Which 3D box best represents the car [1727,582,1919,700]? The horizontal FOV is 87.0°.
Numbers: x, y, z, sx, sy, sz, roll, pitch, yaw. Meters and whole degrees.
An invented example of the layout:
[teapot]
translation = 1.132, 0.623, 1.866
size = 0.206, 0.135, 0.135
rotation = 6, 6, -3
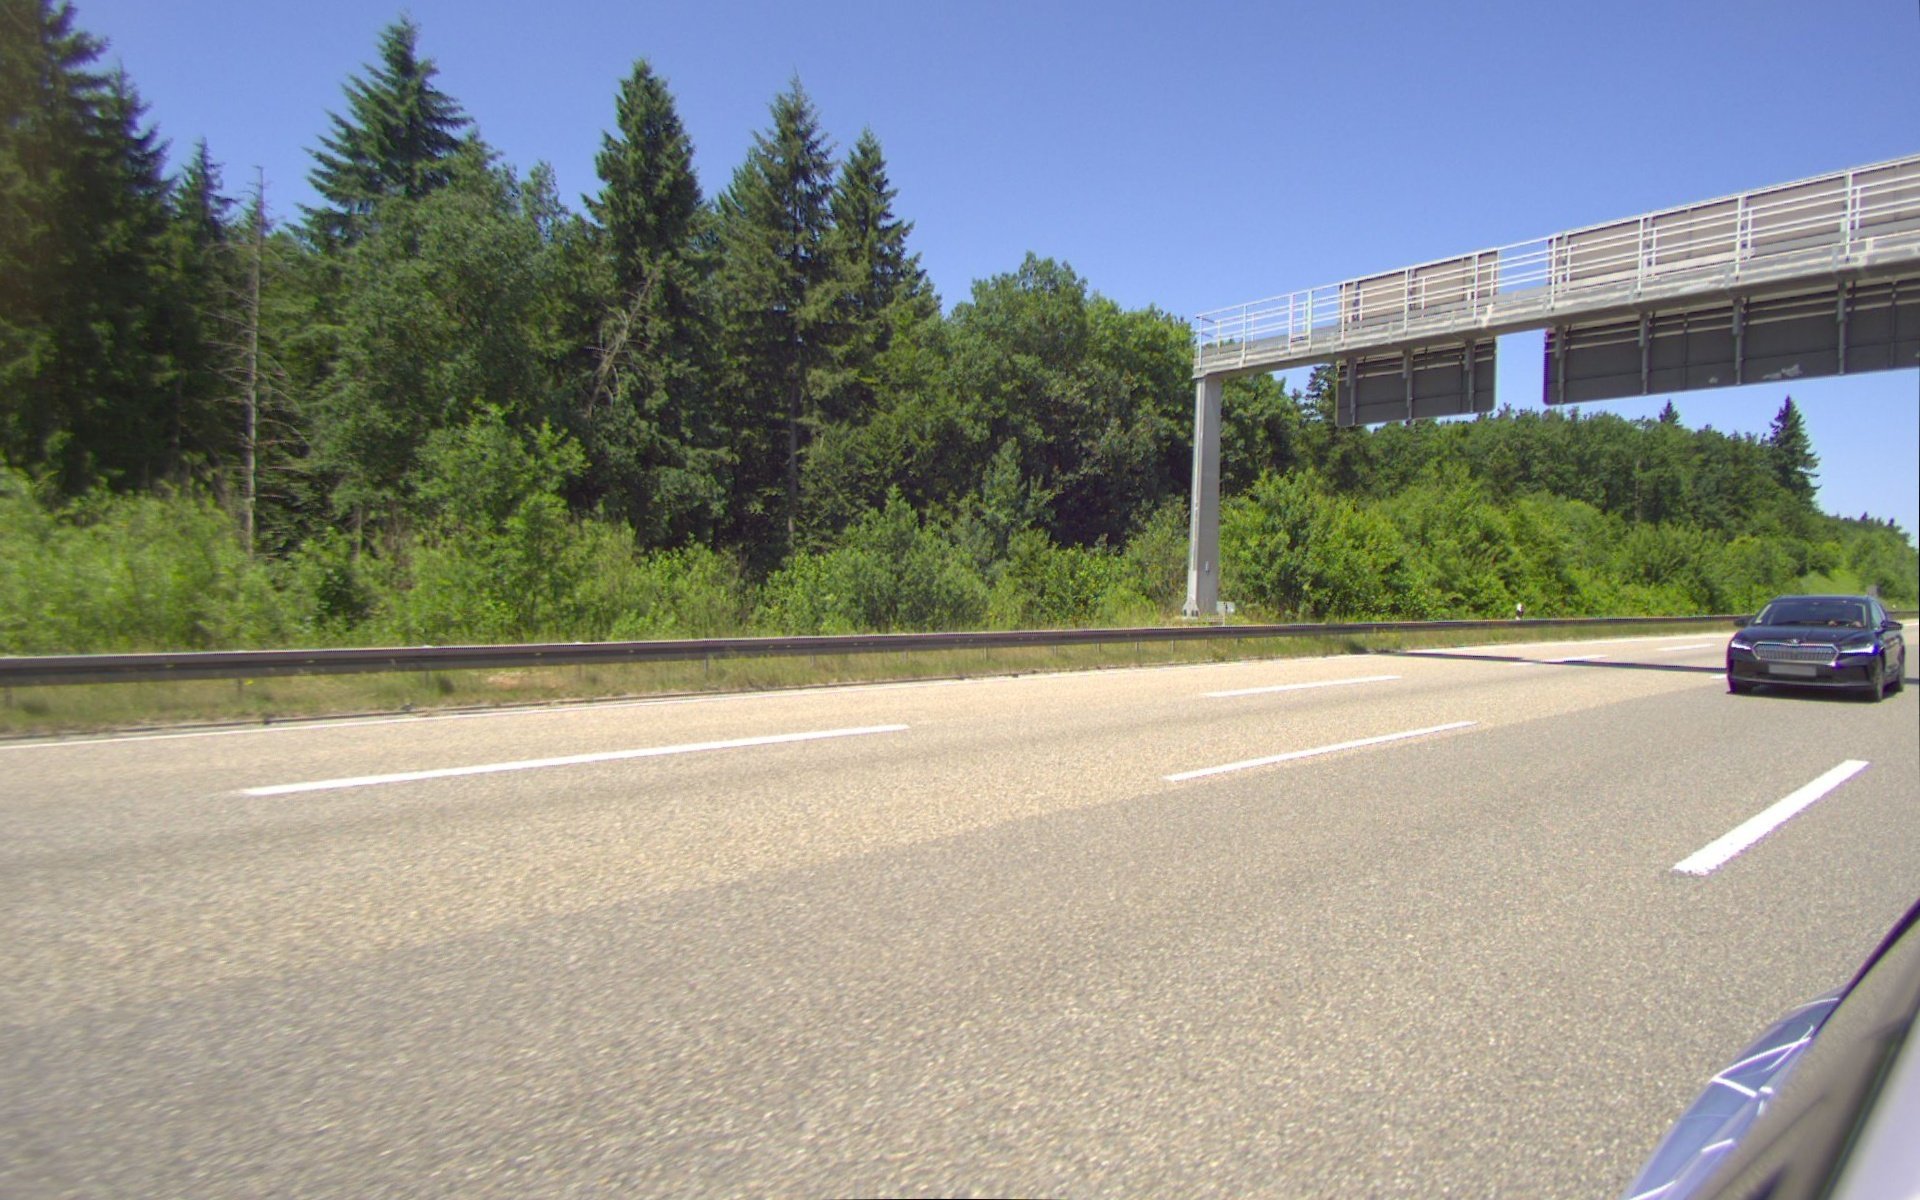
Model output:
[car]
translation = 14.443, 0.553, 16.660
size = 4.379, 1.639, 1.989
rotation = -1, 2, -40
